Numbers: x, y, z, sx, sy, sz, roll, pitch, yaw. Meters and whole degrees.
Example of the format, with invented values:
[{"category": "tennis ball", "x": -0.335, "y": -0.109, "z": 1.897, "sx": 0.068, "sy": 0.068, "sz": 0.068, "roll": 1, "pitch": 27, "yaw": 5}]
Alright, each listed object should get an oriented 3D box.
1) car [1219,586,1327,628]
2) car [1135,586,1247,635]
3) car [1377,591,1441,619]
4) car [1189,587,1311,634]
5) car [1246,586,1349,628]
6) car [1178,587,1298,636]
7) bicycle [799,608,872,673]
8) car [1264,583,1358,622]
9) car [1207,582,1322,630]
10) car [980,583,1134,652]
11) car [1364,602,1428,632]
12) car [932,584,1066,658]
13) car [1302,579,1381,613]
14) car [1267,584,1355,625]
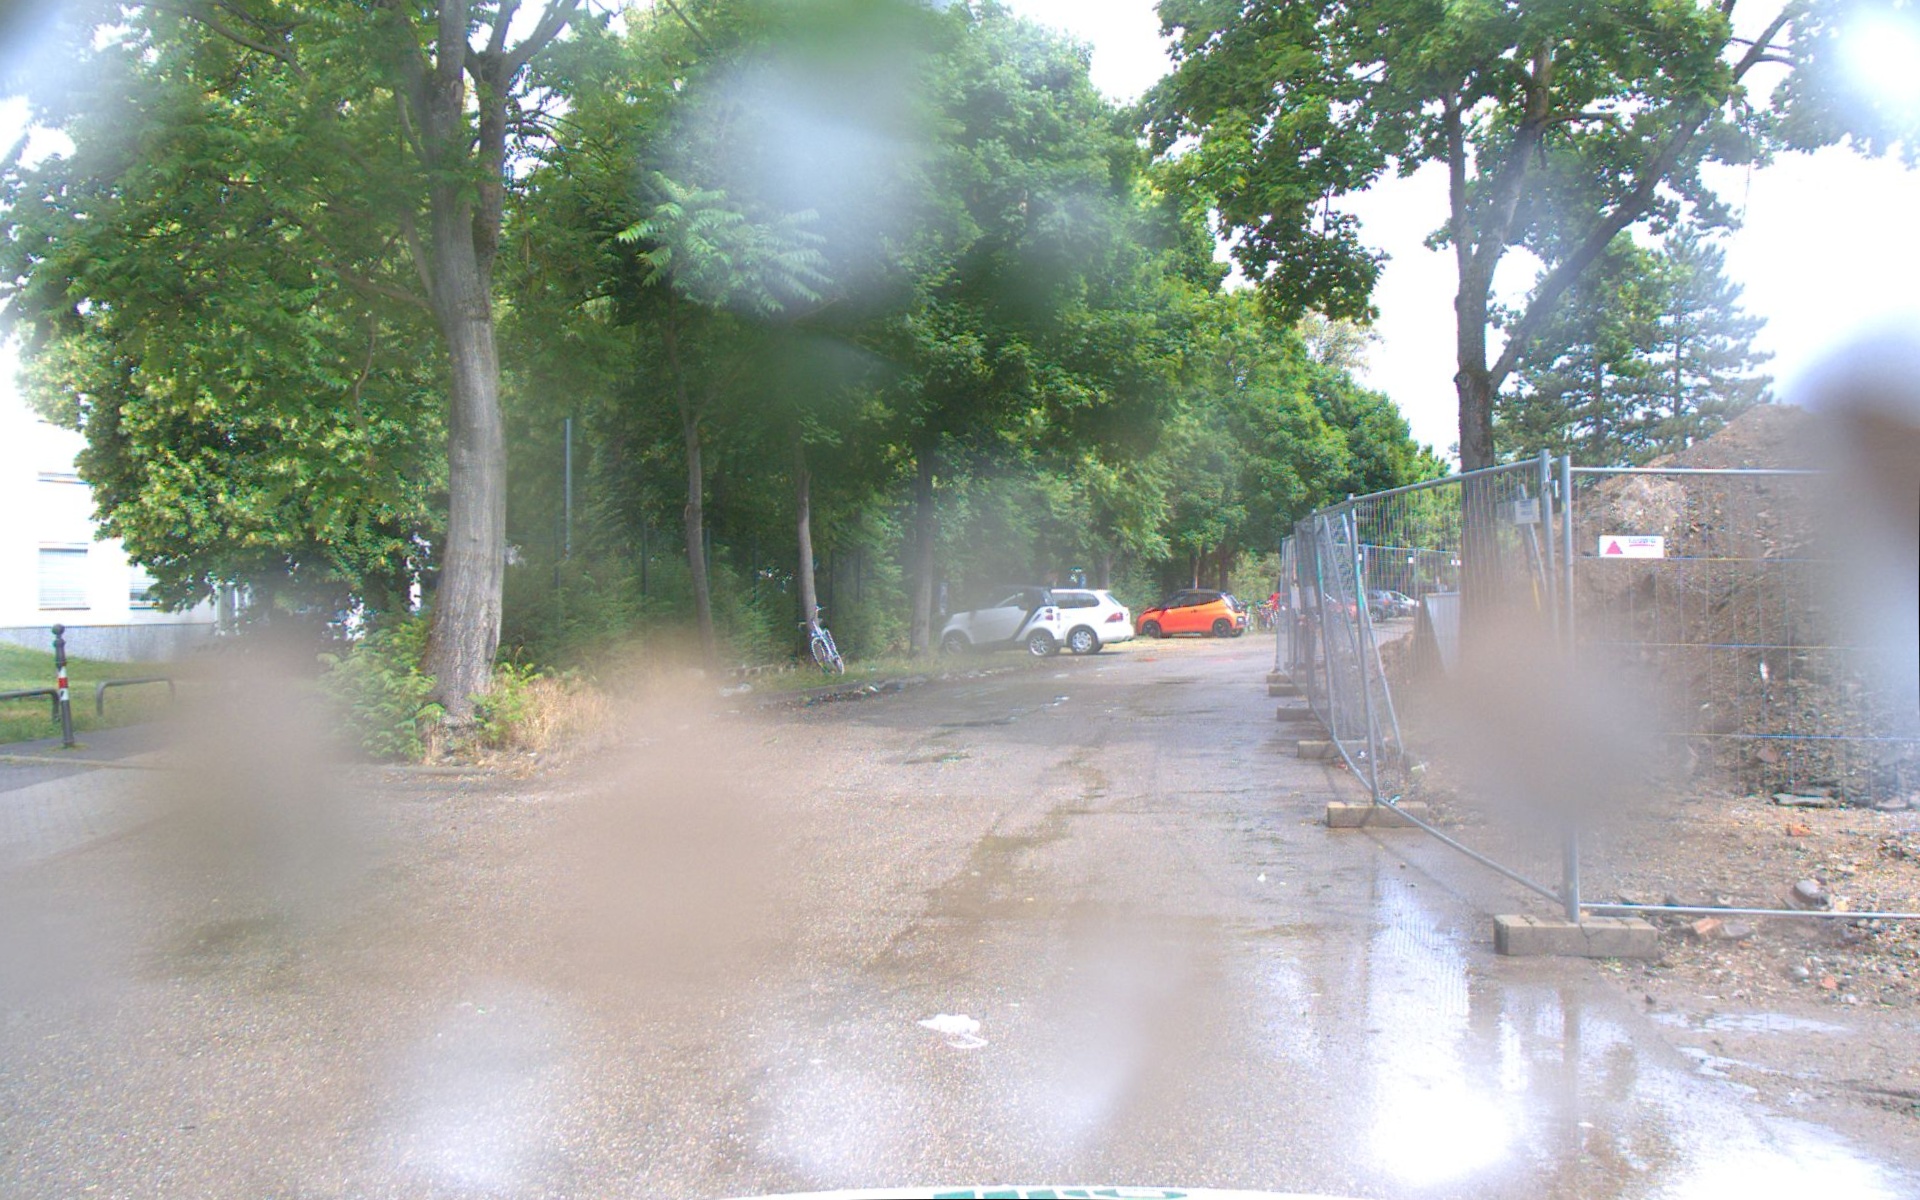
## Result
[{"category": "car", "x": 12.005, "y": 0.251, "z": 63.385, "sx": 3.859, "sy": 1.543, "sz": 1.807, "roll": 1, "pitch": 1, "yaw": 17}, {"category": "car", "x": 7.296, "y": 0.321, "z": 52.213, "sx": 3.218, "sy": 1.449, "sz": 1.591, "roll": 1, "pitch": 2, "yaw": 24}, {"category": "car", "x": 28.932, "y": 0.309, "z": 106.549, "sx": 3.903, "sy": 1.741, "sz": 1.915, "roll": 1, "pitch": 1, "yaw": 18}, {"category": "car", "x": 10.239, "y": 0.341, "z": 58.364, "sx": 3.905, "sy": 1.522, "sz": 1.994, "roll": 1, "pitch": 1, "yaw": 21}, {"category": "car", "x": 13.606, "y": 0.278, "z": 66.656, "sx": 3.903, "sy": 1.587, "sz": 1.765, "roll": 1, "pitch": 1, "yaw": 19}, {"category": "car", "x": 9.485, "y": 0.363, "z": 56.357, "sx": 3.716, "sy": 1.555, "sz": 1.909, "roll": 1, "pitch": 1, "yaw": 22}, {"category": "bicycle", "x": -1.808, "y": 0.578, "z": 24.171, "sx": 0.466, "sy": 0.875, "sz": 1.456, "roll": 1, "pitch": 1, "yaw": 22}, {"category": "car", "x": 15.216, "y": 0.099, "z": 71.637, "sx": 3.775, "sy": 1.600, "sz": 1.959, "roll": 1, "pitch": 1, "yaw": 18}, {"category": "car", "x": 11.260, "y": 0.206, "z": 61.150, "sx": 4.021, "sy": 1.679, "sz": 1.848, "roll": 1, "pitch": 1, "yaw": 16}, {"category": "car", "x": 2.255, "y": 0.387, "z": 37.972, "sx": 3.358, "sy": 1.494, "sz": 1.742, "roll": -1, "pitch": 1, "yaw": 9}, {"category": "car", "x": 26.499, "y": 1.028, "z": 100.436, "sx": 3.673, "sy": 1.668, "sz": 1.673, "roll": 1, "pitch": 1, "yaw": 18}, {"category": "car", "x": 0.869, "y": 0.446, "z": 35.828, "sx": 2.695, "sy": 1.510, "sz": 1.594, "roll": -1, "pitch": 1, "yaw": 9}, {"category": "car", "x": 19.392, "y": -0.216, "z": 84.036, "sx": 3.775, "sy": 1.600, "sz": 1.959, "roll": 1, "pitch": 1, "yaw": 18}, {"category": "car", "x": 14.747, "y": 0.174, "z": 69.361, "sx": 3.511, "sy": 1.649, "sz": 1.871, "roll": 1, "pitch": 1, "yaw": 15}]
